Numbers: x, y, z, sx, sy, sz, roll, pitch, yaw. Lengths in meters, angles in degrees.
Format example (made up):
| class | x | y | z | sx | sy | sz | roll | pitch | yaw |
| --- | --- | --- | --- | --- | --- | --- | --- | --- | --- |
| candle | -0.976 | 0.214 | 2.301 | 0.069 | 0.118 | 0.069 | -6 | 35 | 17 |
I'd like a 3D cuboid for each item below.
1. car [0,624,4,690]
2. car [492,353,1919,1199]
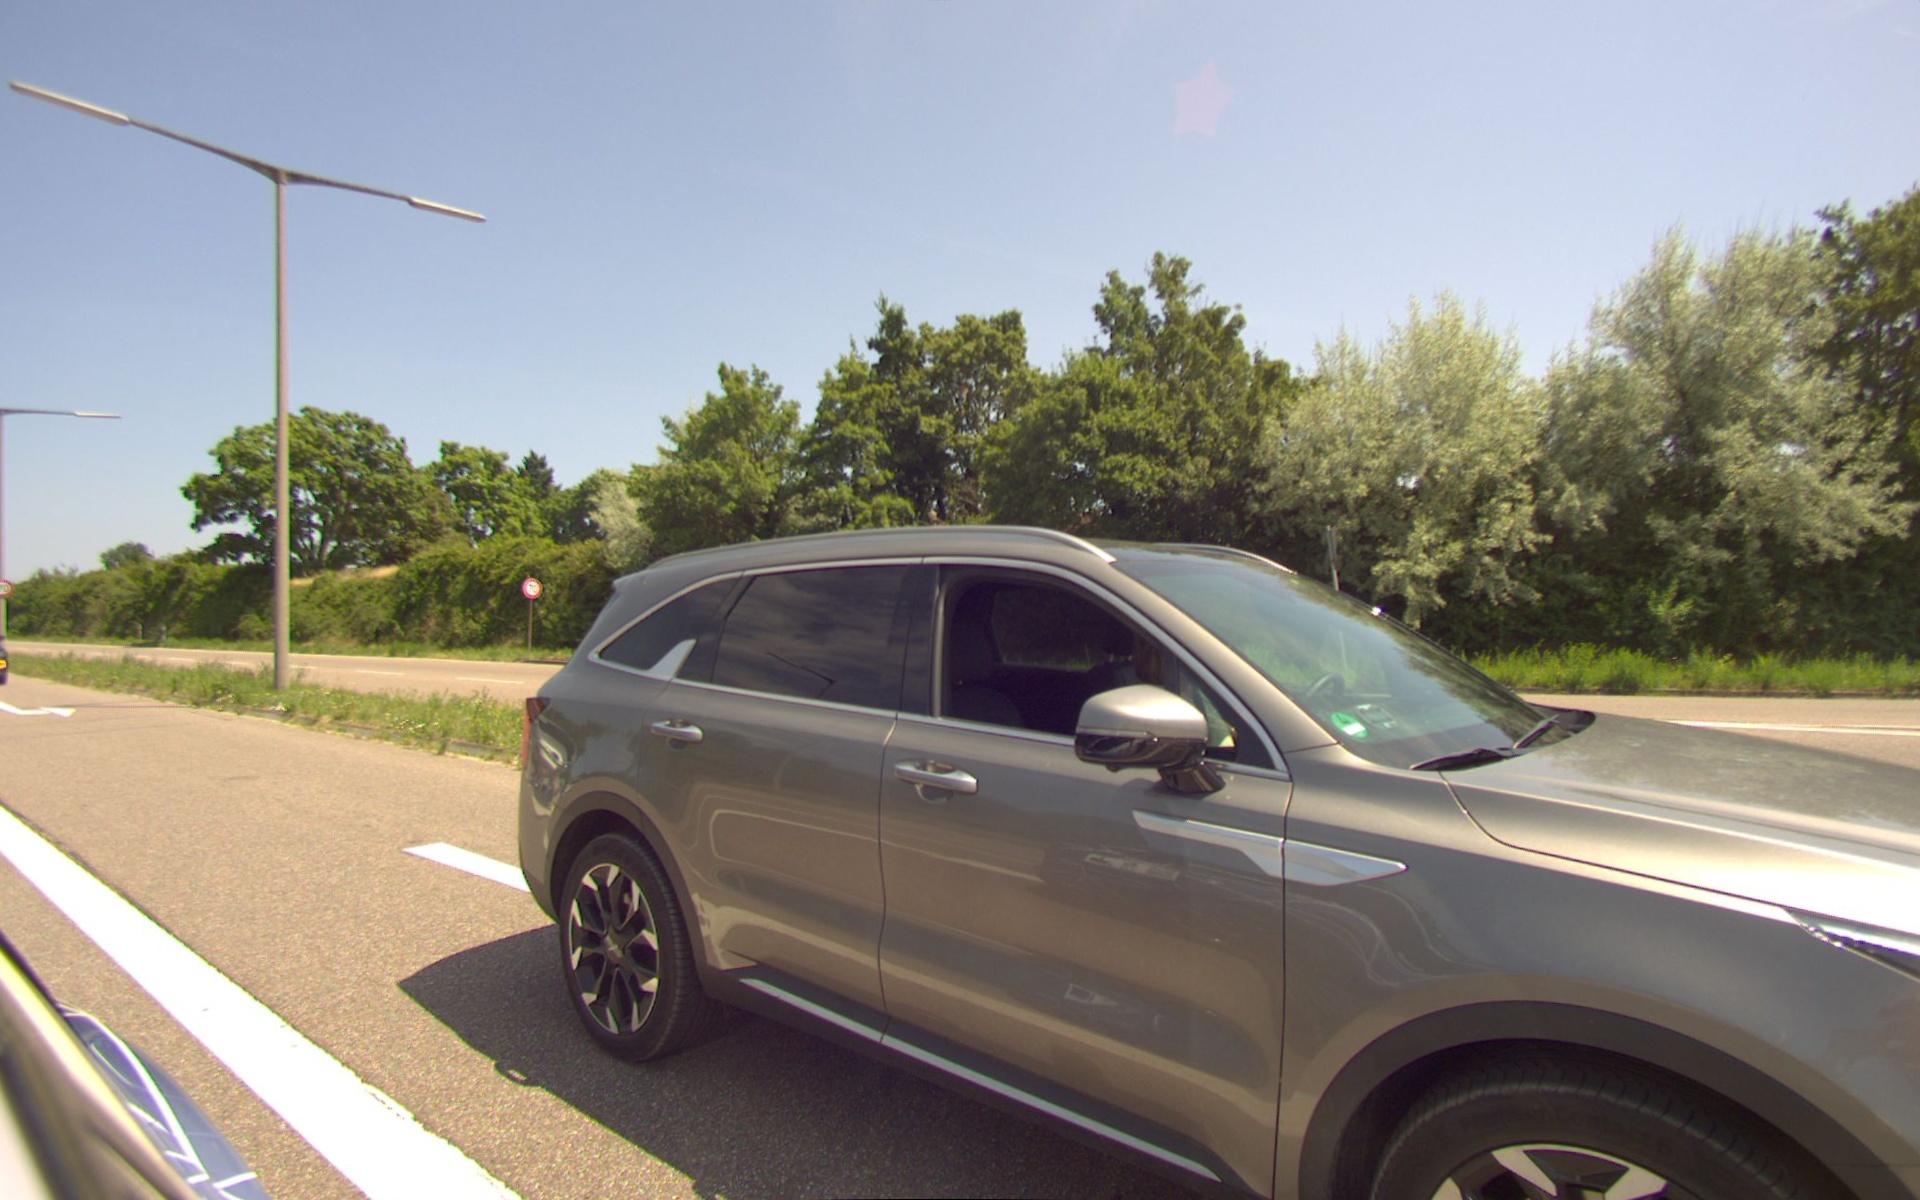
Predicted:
| class | x | y | z | sx | sy | sz | roll | pitch | yaw |
| --- | --- | --- | --- | --- | --- | --- | --- | --- | --- |
| car | -24.005 | 1.340 | 23.847 | 3.997 | 1.511 | 1.731 | -2 | -1 | 40 |
| car | 0.543 | 0.572 | 2.982 | 4.528 | 1.681 | 1.762 | -2 | -2 | 40 |
